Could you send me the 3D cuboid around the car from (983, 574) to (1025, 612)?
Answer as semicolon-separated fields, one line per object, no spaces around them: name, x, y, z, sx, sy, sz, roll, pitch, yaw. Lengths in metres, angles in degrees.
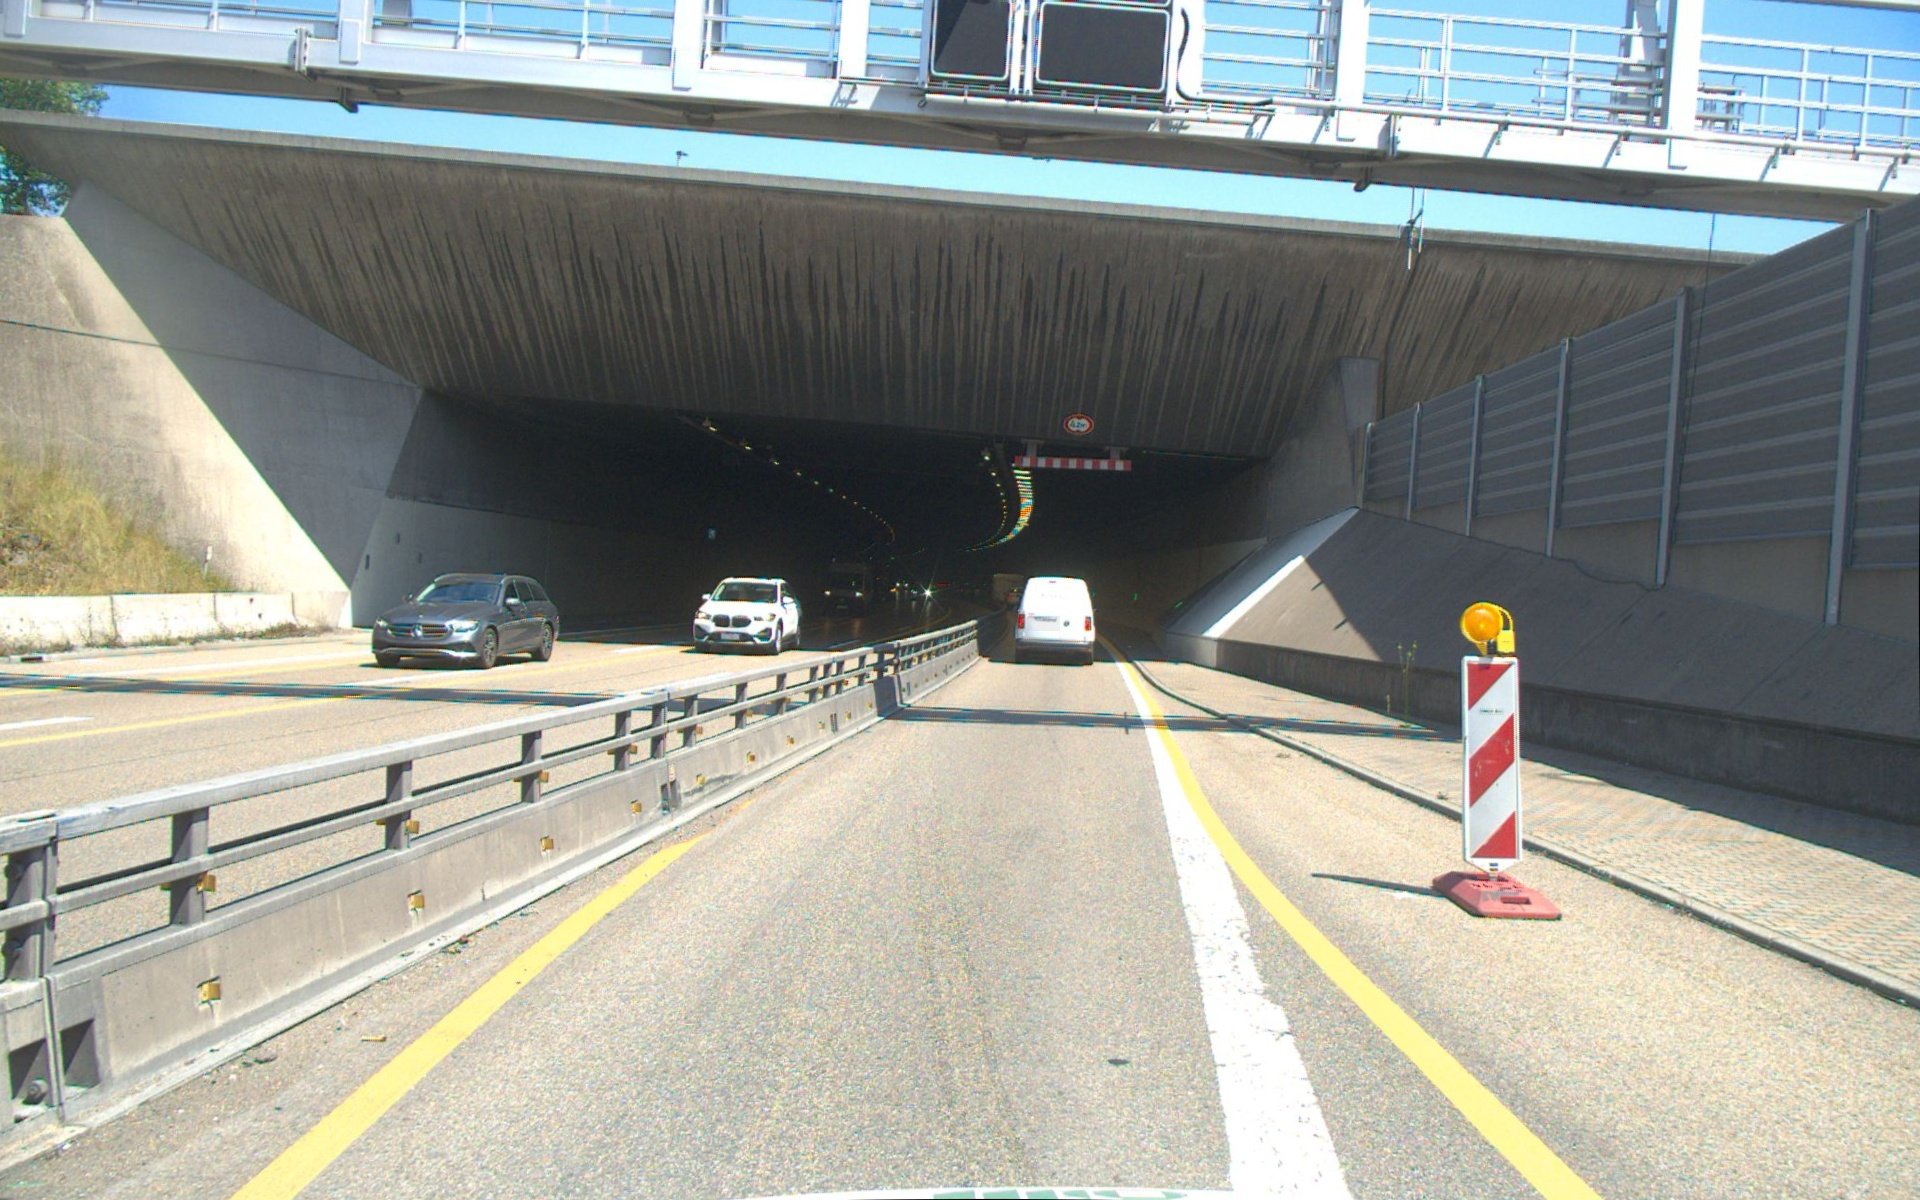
car;3.416;-0.550;131.017;2.757;2.822;7.098;2;0;-3

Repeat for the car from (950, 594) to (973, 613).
car;0.163;0.364;182.629;1.903;2.056;4.656;2;0;-6

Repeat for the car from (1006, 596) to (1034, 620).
car;4.045;0.528;111.147;1.566;1.573;3.676;2;0;-2

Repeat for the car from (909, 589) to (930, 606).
car;-3.655;-0.239;147.598;1.784;1.482;4.091;2;0;-2

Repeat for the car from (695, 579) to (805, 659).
car;-4.566;0.385;36.497;1.737;1.605;4.447;1;0;1

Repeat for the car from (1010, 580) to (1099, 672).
car;2.102;0.568;36.858;1.771;1.825;3.732;4;0;3

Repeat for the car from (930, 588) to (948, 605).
car;-2.761;-0.479;215.865;1.902;2.056;4.656;2;0;-6

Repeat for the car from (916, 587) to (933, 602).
car;-5.128;-0.860;239.616;2.033;2.056;4.656;2;0;-6

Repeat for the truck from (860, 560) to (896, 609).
truck;-6.947;-1.325;140.971;2.753;3.984;6.454;2;0;-1

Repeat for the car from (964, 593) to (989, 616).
car;1.633;0.471;167.184;1.996;2.056;4.627;6;0;-4

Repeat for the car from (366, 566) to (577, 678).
car;-8.183;0.335;28.218;1.736;1.695;4.810;2;0;6

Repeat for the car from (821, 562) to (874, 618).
car;-5.396;-0.464;80.059;1.952;2.559;6.042;1;0;1

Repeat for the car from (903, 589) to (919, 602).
car;-7.761;-0.724;262.173;2.033;2.056;4.656;2;0;-6
